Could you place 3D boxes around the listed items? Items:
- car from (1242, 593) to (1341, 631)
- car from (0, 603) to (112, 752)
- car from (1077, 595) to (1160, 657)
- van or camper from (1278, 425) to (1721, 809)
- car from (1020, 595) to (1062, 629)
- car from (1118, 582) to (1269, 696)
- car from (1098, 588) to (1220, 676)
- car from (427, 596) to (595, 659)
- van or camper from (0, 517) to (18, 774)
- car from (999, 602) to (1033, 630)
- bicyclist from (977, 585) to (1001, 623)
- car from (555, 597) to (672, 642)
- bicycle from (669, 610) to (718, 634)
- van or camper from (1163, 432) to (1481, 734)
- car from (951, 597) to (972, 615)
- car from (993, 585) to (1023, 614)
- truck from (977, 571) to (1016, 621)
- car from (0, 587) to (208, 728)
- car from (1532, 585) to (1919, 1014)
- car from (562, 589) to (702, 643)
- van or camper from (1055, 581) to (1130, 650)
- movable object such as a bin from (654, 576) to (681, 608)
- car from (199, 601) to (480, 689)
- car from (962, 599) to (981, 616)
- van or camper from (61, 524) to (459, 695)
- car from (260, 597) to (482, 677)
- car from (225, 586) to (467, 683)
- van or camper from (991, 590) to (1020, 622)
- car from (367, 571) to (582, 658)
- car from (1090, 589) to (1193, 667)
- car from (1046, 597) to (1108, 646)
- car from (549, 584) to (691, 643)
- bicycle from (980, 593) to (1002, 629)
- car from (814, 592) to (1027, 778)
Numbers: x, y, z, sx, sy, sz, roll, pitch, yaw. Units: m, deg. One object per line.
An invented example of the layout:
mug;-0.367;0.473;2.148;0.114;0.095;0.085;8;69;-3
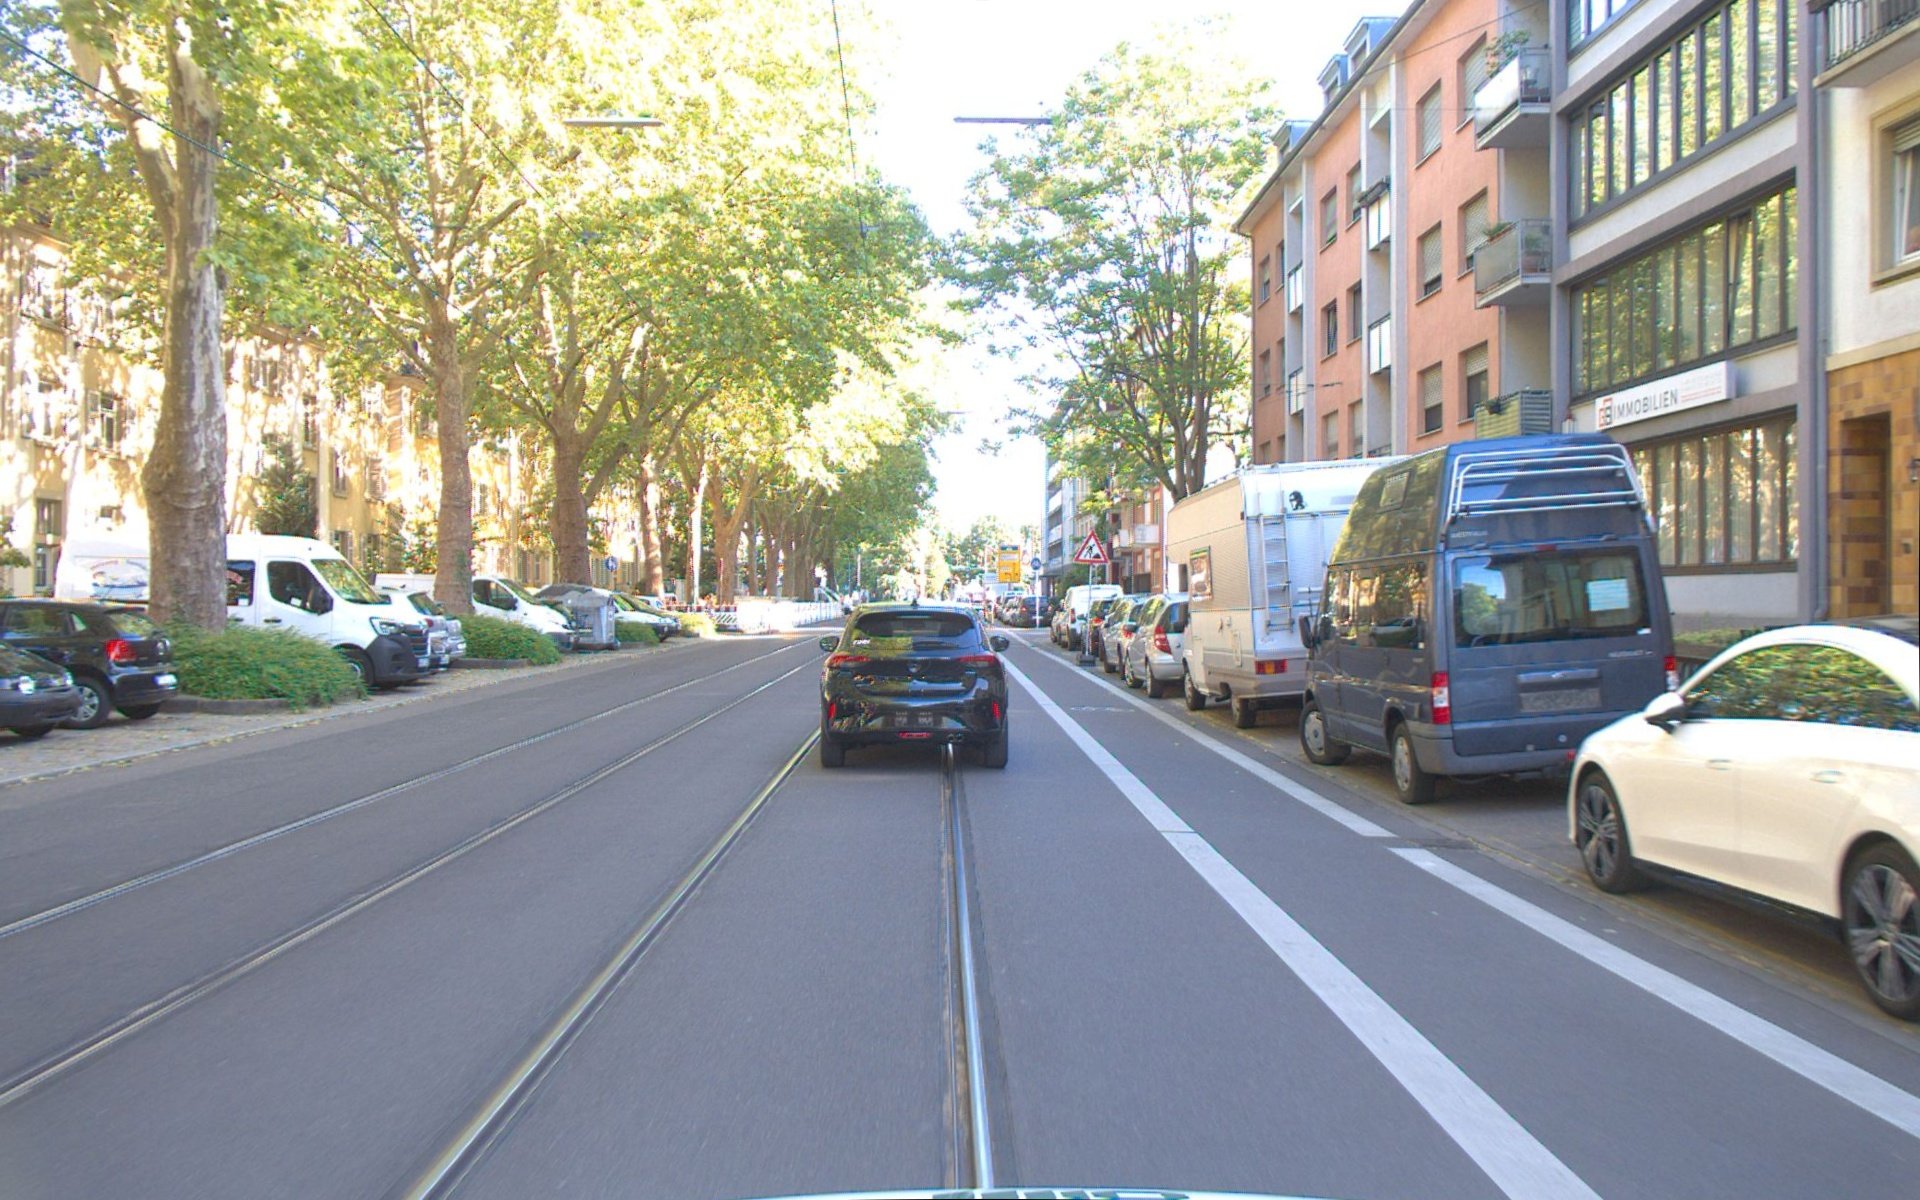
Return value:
car;13.984;0.497;69.834;3.835;1.508;1.561;0;3;-2
car;-11.018;0.774;17.264;3.463;1.485;1.694;0;0;-8
car;4.037;0.641;42.769;1.671;1.499;4.167;-1;0;-1
van or camper;4.403;0.117;14.503;2.089;2.709;4.978;-2;0;-1
car;3.799;0.535;78.157;1.698;1.487;3.915;-2;0;-1
car;3.746;0.593;27.263;1.756;1.656;4.275;-2;0;-1
car;3.834;0.583;32.529;1.752;1.548;4.321;-2;0;-1
car;-11.411;0.677;42.228;3.769;1.524;1.862;-1;0;-1
van or camper;-10.642;0.382;13.409;4.725;2.228;2.117;0;0;-5
car;3.101;0.859;92.049;1.626;1.424;4.738;-2;0;-1
bicyclist;1.294;0.184;74.208;1.067;1.676;1.400;0;0;0
car;-12.305;0.693;58.942;3.769;1.524;1.862;-1;0;-1
bicycle;-11.024;0.906;68.459;1.932;0.979;0.726;0;0;0
van or camper;4.237;-0.190;20.735;2.412;3.117;6.266;-2;0;-1
car;0.156;0.588;164.280;1.953;1.725;4.738;-2;0;-1
car;2.803;-0.045;97.599;1.626;1.608;3.588;-1;0;0
truck;2.632;-0.258;119.795;2.487;3.396;7.194;-3;0;0
car;-11.120;0.644;19.657;3.605;1.592;1.613;0;0;2
car;4.461;0.718;7.600;1.953;1.519;4.739;-2;0;0
car;-10.835;0.521;54.782;4.144;1.717;1.934;-1;0;6
van or camper;3.817;0.437;48.420;1.719;1.897;4.829;-1;0;-1
movable object such as a bin;-17.744;-0.473;100.441;1.306;1.901;2.007;1;-1;-1
car;-10.675;0.759;28.643;4.177;1.423;1.753;-1;0;-1
car;1.222;0.762;178.533;1.953;1.725;4.738;-2;0;-1
van or camper;-11.032;0.145;26.402;5.278;2.560;2.445;0;0;1
car;-11.729;0.717;33.109;3.769;1.524;1.862;-1;0;-1
car;-11.359;0.618;30.782;3.769;1.692;1.862;-1;0;-1
van or camper;2.827;0.383;102.768;1.635;1.916;4.210;-1;0;0
car;-11.480;0.339;39.346;4.565;1.979;1.960;0;0;-5
car;4.070;0.594;37.691;1.732;1.599;4.336;-2;0;-1
car;3.800;0.675;54.068;1.671;1.499;3.999;-1;0;-1
car;-10.765;0.420;52.562;4.112;1.788;1.740;0;0;0
bicycle;1.391;0.488;74.217;0.897;1.588;3.404;0;0;0
car;-0.363;0.700;15.628;1.745;1.522;3.999;0;0;-1
